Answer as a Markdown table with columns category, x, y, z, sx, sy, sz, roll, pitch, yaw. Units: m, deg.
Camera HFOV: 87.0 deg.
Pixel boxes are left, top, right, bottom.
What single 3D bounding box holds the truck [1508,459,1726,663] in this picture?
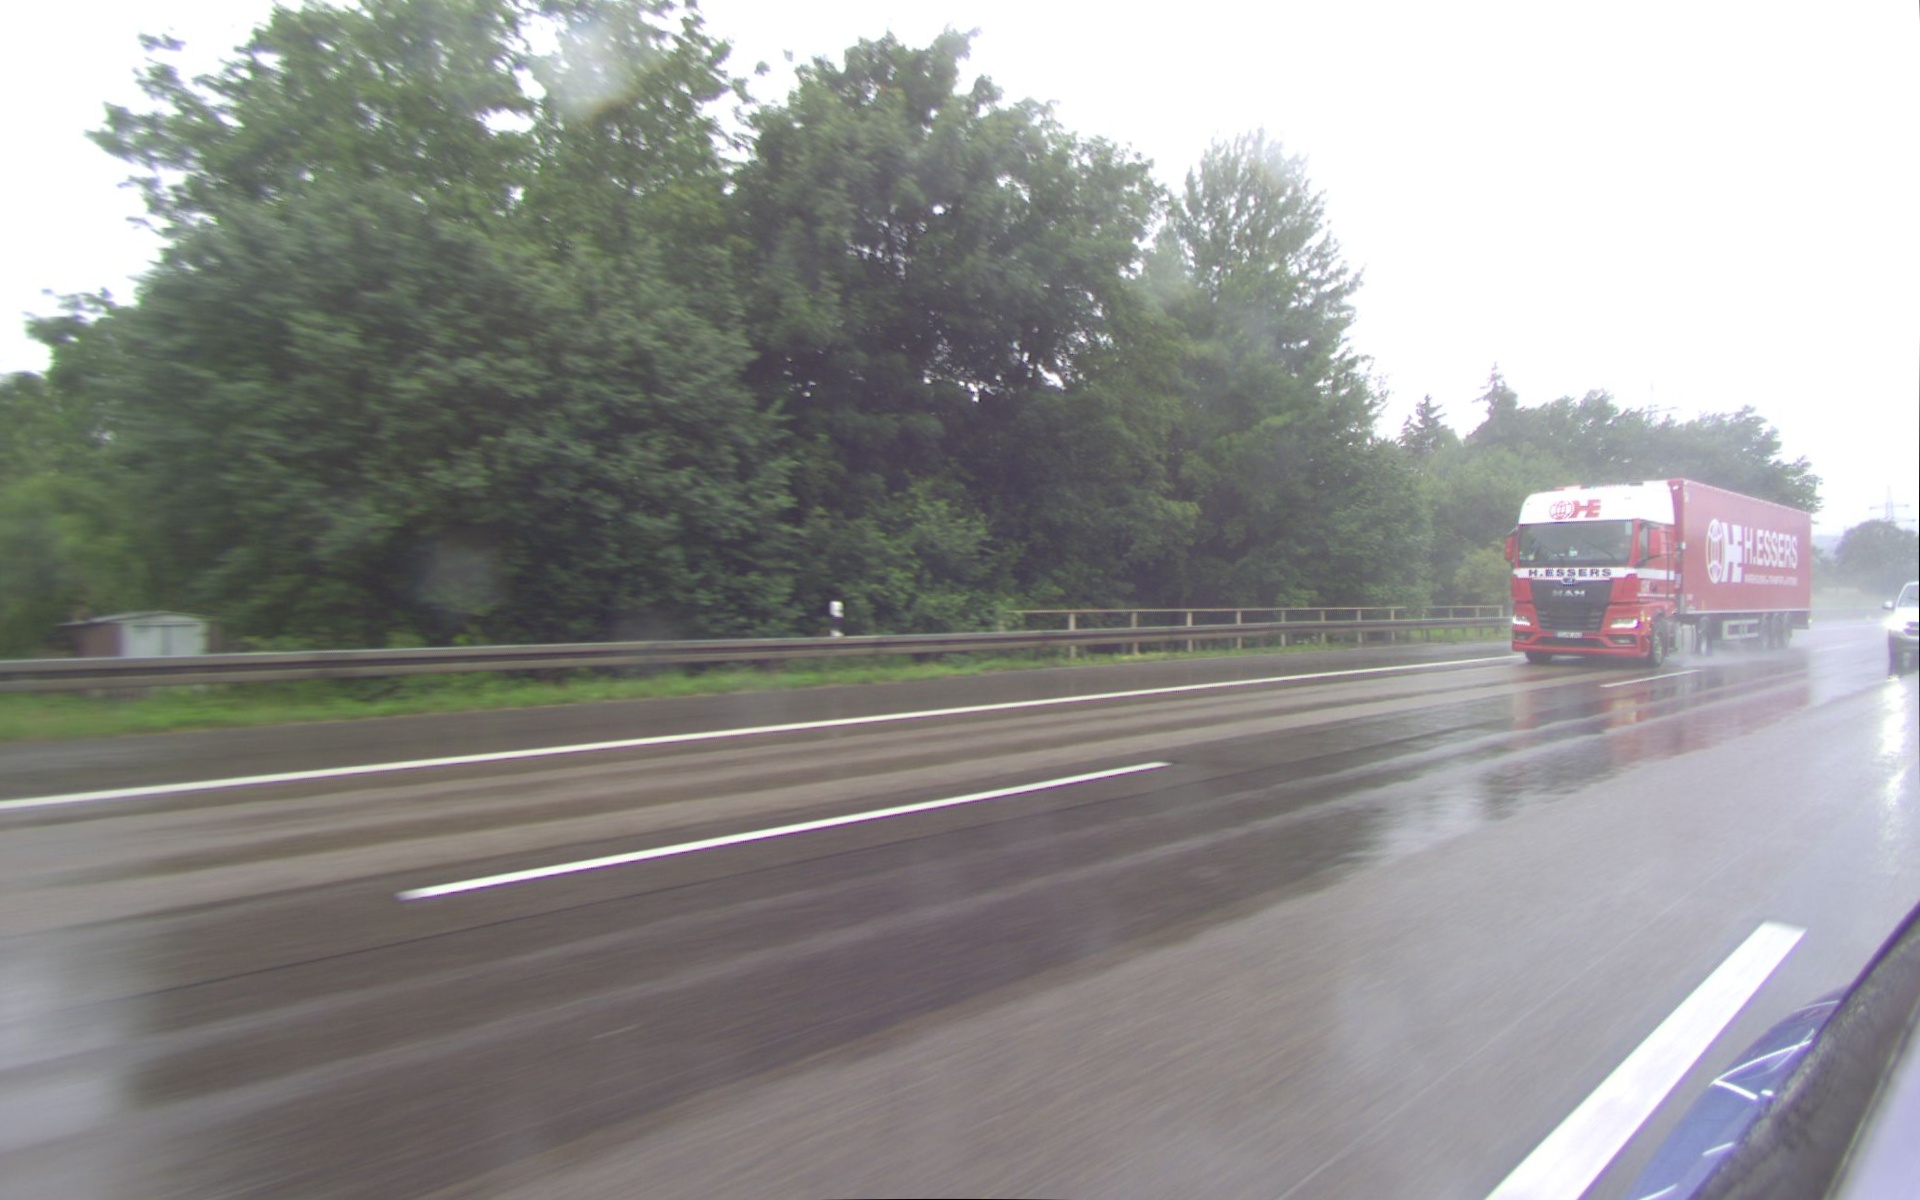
| category | x | y | z | sx | sy | sz | roll | pitch | yaw |
| --- | --- | --- | --- | --- | --- | --- | --- | --- | --- |
| truck | 14.733 | -0.797 | 22.577 | 5.336 | 4.005 | 2.626 | 0 | 0 | -39 |

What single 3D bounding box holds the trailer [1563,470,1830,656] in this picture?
| category | x | y | z | sx | sy | sz | roll | pitch | yaw |
| --- | --- | --- | --- | --- | --- | --- | --- | --- | --- |
| trailer | 20.182 | -0.855 | 27.133 | 13.388 | 4.005 | 2.625 | 0 | 0 | -40 |

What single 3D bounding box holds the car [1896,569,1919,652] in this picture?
| category | x | y | z | sx | sy | sz | roll | pitch | yaw |
| --- | --- | --- | --- | --- | --- | --- | --- | --- | --- |
| car | 24.460 | 0.227 | 24.512 | 4.919 | 1.908 | 1.891 | 0 | -3 | -39 |
